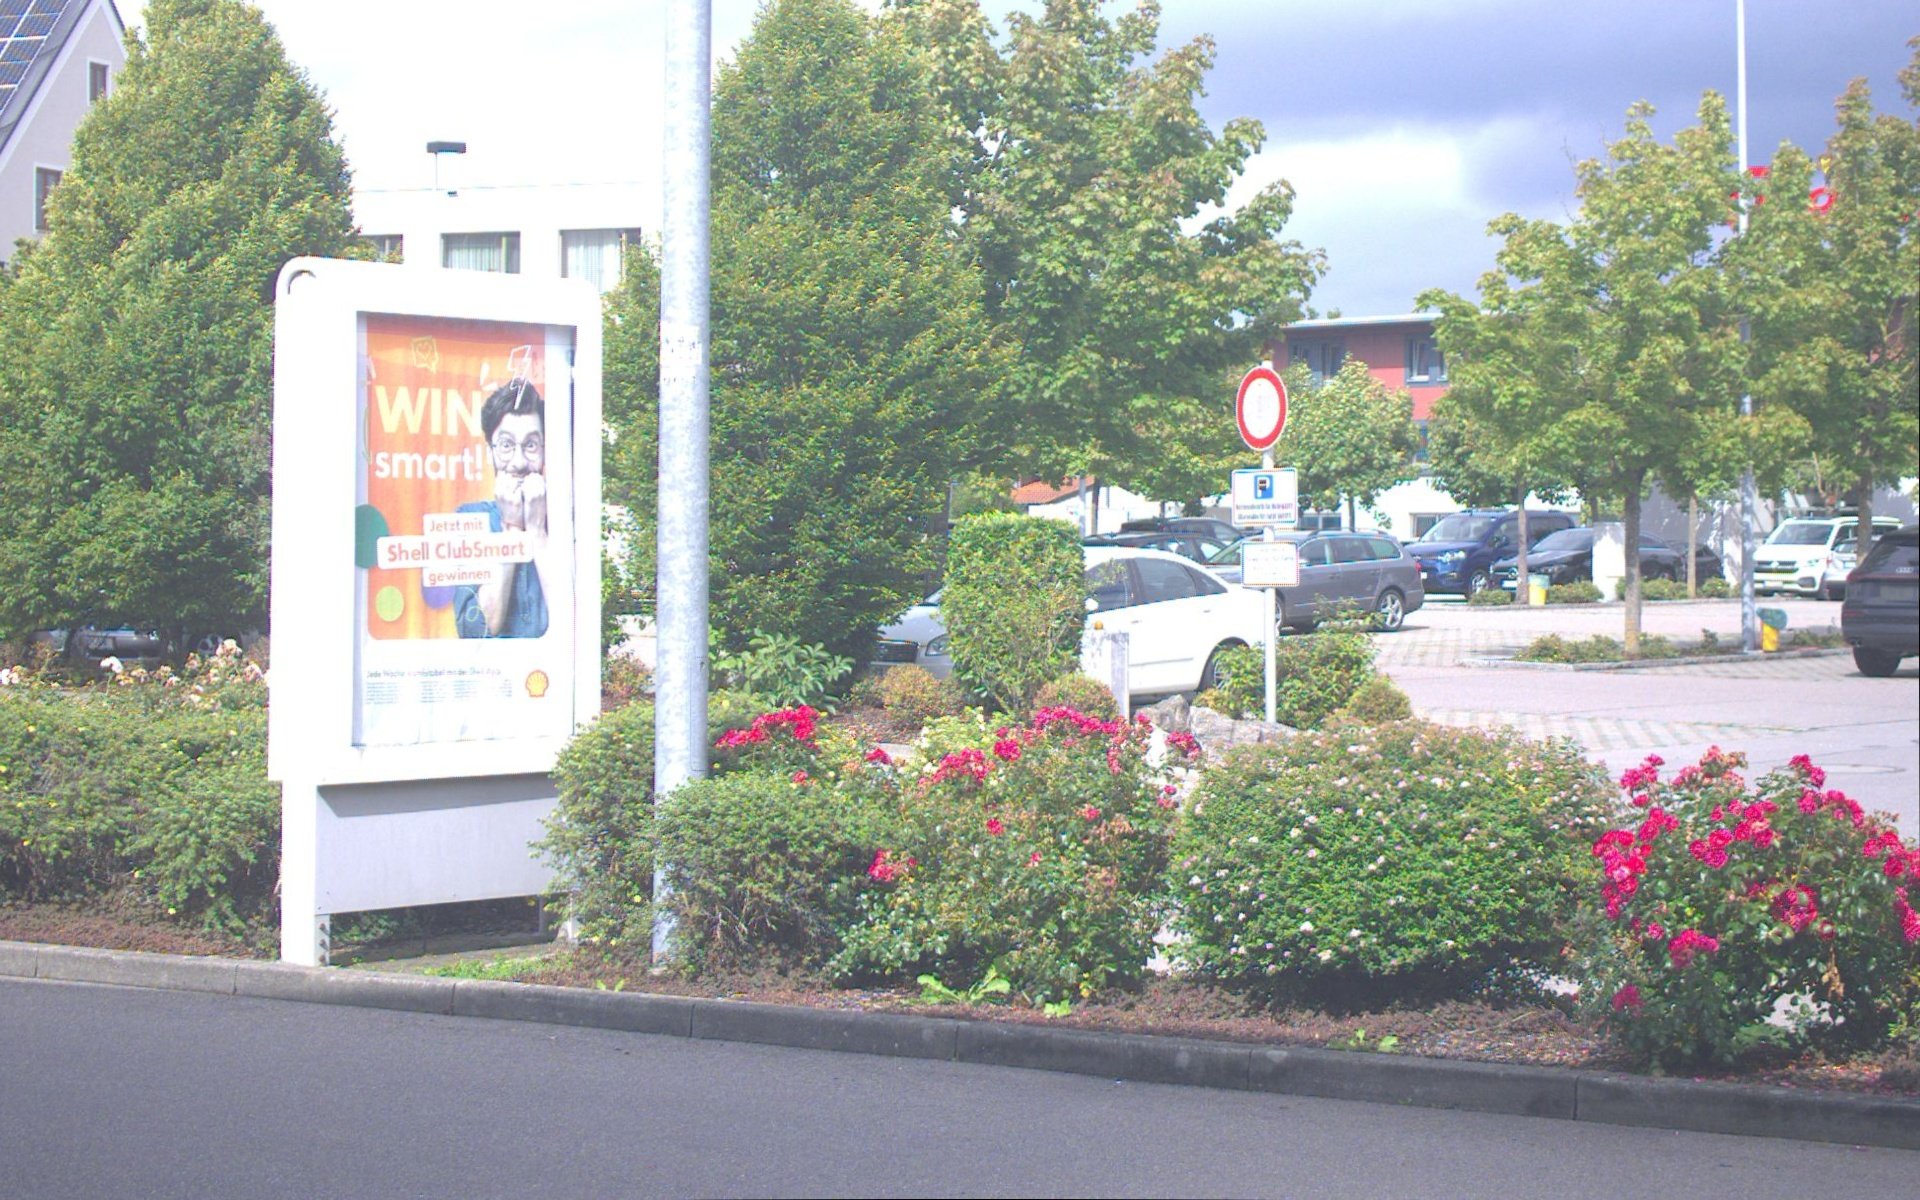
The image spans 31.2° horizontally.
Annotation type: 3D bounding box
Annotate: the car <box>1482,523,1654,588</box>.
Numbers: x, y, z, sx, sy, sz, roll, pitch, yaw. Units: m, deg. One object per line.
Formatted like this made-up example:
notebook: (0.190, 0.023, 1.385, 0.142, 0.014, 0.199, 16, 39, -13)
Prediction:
car: (11.520, -0.843, 65.051, 3.409, 1.174, 1.485, 0, 1, -44)

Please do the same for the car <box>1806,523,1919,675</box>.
car: (11.135, -0.009, 36.745, 4.491, 1.543, 1.885, 0, 1, -43)

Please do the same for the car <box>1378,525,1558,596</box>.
car: (9.891, -0.762, 66.799, 3.379, 1.316, 1.747, 0, 1, -44)

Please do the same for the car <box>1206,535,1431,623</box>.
car: (5.205, -0.293, 49.732, 3.218, 1.224, 1.505, 0, 1, -44)

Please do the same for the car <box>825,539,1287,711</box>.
car: (0.905, 0.201, 29.943, 4.332, 1.399, 1.370, 0, 1, -44)

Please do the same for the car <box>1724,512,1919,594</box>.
car: (20.254, -1.089, 80.656, 4.864, 1.827, 2.184, 0, 1, -43)
